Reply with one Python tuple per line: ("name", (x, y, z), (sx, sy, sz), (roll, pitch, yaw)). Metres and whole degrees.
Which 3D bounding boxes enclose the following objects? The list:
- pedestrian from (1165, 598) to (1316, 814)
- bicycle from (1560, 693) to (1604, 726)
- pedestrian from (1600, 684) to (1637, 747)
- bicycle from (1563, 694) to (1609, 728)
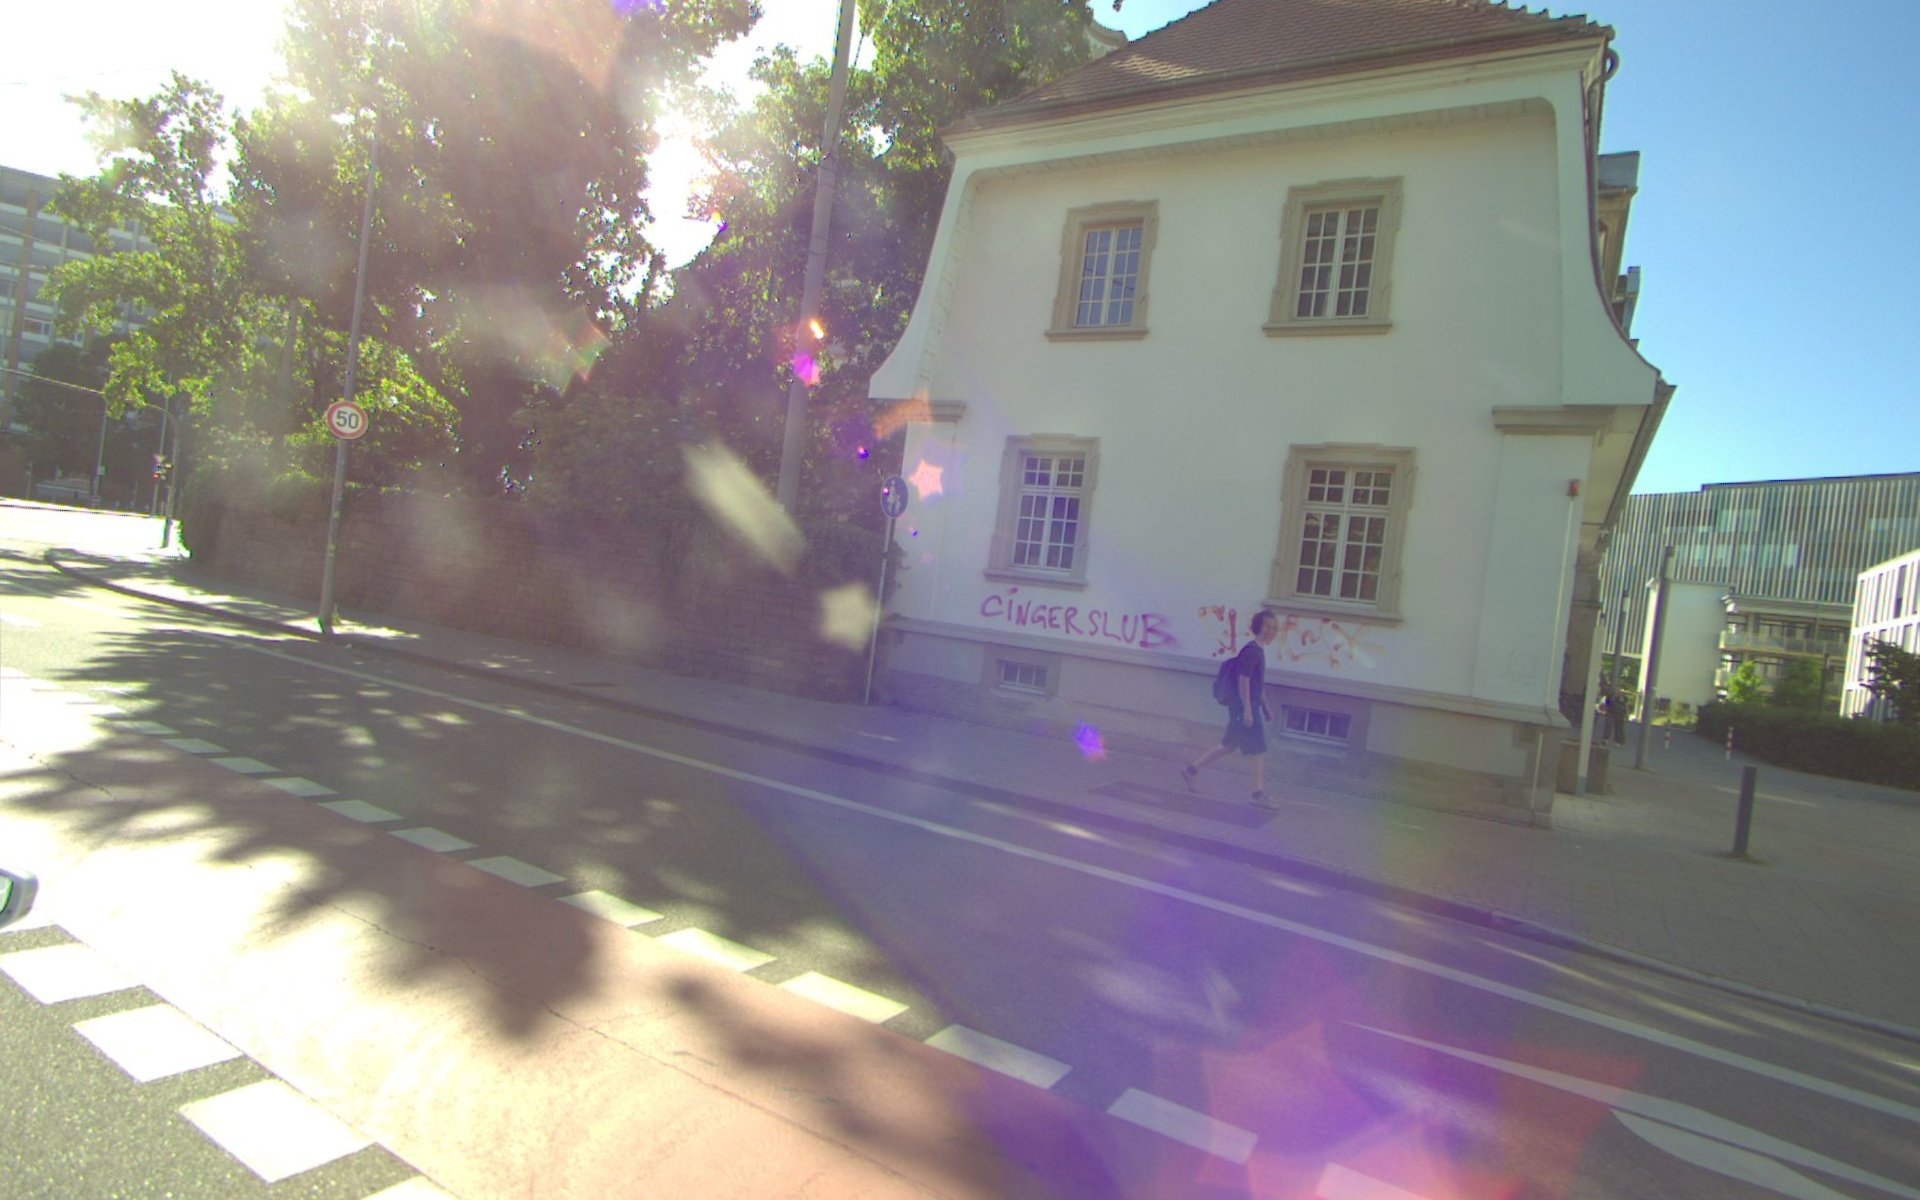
("pedestrian", (2.784, 1.008, 10.001), (1.116, 1.929, 0.638), (8, 3, 32))
("bicycle", (24.655, 4.340, 39.908), (1.364, 1.029, 0.470), (9, 2, 33))
("pedestrian", (17.718, 3.095, 27.078), (0.633, 1.605, 0.926), (7, 0, 32))
("bicycle", (23.826, 4.217, 38.327), (1.364, 1.029, 0.470), (9, 2, 33))
